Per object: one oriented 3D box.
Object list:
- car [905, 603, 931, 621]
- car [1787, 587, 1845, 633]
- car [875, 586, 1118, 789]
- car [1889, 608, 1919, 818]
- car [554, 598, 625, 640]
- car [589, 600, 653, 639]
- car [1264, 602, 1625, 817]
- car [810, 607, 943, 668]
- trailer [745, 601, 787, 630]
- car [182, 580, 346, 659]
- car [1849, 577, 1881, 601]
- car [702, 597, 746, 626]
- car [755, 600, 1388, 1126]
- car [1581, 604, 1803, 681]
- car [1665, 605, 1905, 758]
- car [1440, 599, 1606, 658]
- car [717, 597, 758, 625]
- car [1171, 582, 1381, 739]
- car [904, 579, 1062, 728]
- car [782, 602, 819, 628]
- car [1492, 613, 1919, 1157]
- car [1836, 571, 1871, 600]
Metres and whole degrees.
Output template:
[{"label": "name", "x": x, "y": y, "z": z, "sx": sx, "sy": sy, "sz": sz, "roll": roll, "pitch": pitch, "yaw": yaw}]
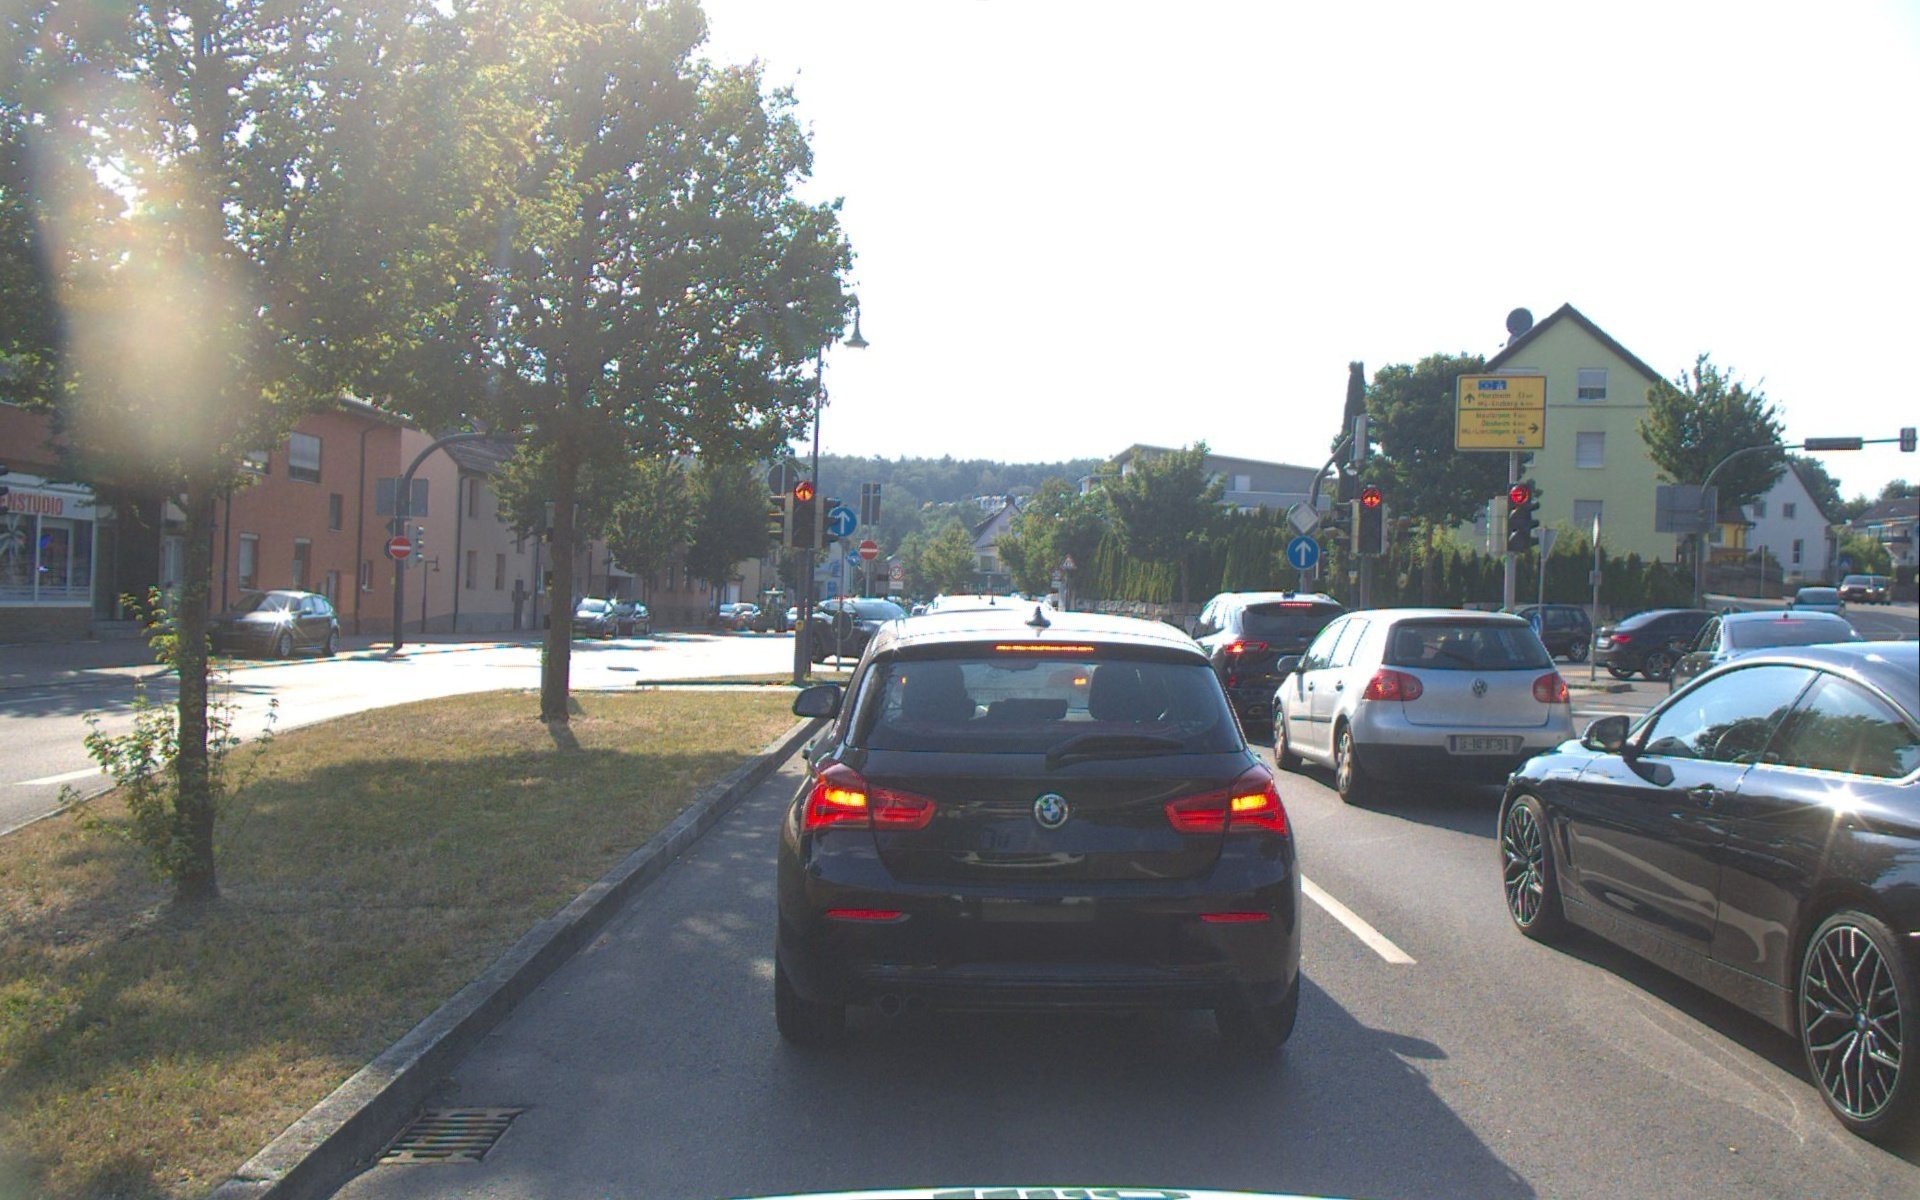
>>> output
[{"label": "car", "x": -3.675, "y": 1.050, "z": 144.727, "sx": 1.826, "sy": 1.511, "sz": 4.652, "roll": 1, "pitch": 0, "yaw": -6}, {"label": "car", "x": 28.990, "y": 0.302, "z": 56.028, "sx": 1.677, "sy": 1.265, "sz": 3.997, "roll": 1, "pitch": 4, "yaw": 27}, {"label": "car", "x": 0.299, "y": 0.640, "z": 14.335, "sx": 1.779, "sy": 1.476, "sz": 4.242, "roll": 1, "pitch": 0, "yaw": 1}, {"label": "car", "x": 7.412, "y": 0.808, "z": 10.030, "sx": 1.692, "sy": 1.476, "sz": 4.072, "roll": 1, "pitch": 0, "yaw": 8}, {"label": "car", "x": -14.930, "y": 0.735, "z": 66.877, "sx": 1.884, "sy": 1.624, "sz": 4.000, "roll": 1, "pitch": 0, "yaw": 1}, {"label": "car", "x": -14.842, "y": 0.845, "z": 72.672, "sx": 1.884, "sy": 1.624, "sz": 4.000, "roll": 1, "pitch": 0, "yaw": 1}, {"label": "car", "x": 3.801, "y": 0.773, "z": 13.793, "sx": 1.779, "sy": 1.471, "sz": 4.347, "roll": 1, "pitch": 0, "yaw": 1}, {"label": "car", "x": -2.128, "y": 0.898, "z": 41.145, "sx": 1.676, "sy": 1.377, "sz": 3.958, "roll": 1, "pitch": 0, "yaw": -31}, {"label": "trailer", "x": -11.108, "y": 0.854, "z": 94.816, "sx": 1.953, "sy": 1.579, "sz": 3.999, "roll": 1, "pitch": 0, "yaw": -1}, {"label": "car", "x": -15.568, "y": 0.412, "z": 37.232, "sx": 1.805, "sy": 1.579, "sz": 4.001, "roll": 3, "pitch": 0, "yaw": 2}, {"label": "car", "x": 63.014, "y": -0.777, "z": 115.167, "sx": 1.744, "sy": 1.607, "sz": 3.990, "roll": 1, "pitch": 0, "yaw": 32}, {"label": "car", "x": -13.820, "y": 0.680, "z": 97.074, "sx": 1.884, "sy": 1.624, "sz": 4.000, "roll": 1, "pitch": 0, "yaw": 1}, {"label": "car", "x": 0.340, "y": 0.735, "z": 6.801, "sx": 1.754, "sy": 1.439, "sz": 4.347, "roll": 1, "pitch": 0, "yaw": 1}, {"label": "car", "x": 15.251, "y": 0.868, "z": 34.641, "sx": 3.902, "sy": 1.484, "sz": 1.774, "roll": 1, "pitch": 0, "yaw": 8}, {"label": "car", "x": 9.073, "y": 0.800, "z": 18.540, "sx": 1.645, "sy": 1.460, "sz": 4.592, "roll": 1, "pitch": 0, "yaw": 17}, {"label": "car", "x": 15.287, "y": 0.771, "z": 44.929, "sx": 3.990, "sy": 1.533, "sz": 1.784, "roll": 1, "pitch": 0, "yaw": -16}, {"label": "car", "x": -13.775, "y": 0.670, "z": 102.580, "sx": 1.884, "sy": 1.624, "sz": 4.000, "roll": 1, "pitch": 0, "yaw": 1}, {"label": "car", "x": 3.744, "y": 0.656, "z": 20.300, "sx": 1.779, "sy": 1.695, "sz": 4.347, "roll": 1, "pitch": 0, "yaw": 1}, {"label": "car", "x": 0.288, "y": 0.606, "z": 20.921, "sx": 1.779, "sy": 1.670, "sz": 4.242, "roll": 1, "pitch": 0, "yaw": 1}, {"label": "car", "x": -10.277, "y": 0.942, "z": 106.865, "sx": 1.884, "sy": 1.624, "sz": 4.000, "roll": 1, "pitch": 0, "yaw": 1}, {"label": "car", "x": 3.470, "y": 0.785, "z": 5.916, "sx": 1.779, "sy": 1.413, "sz": 4.347, "roll": 1, "pitch": 0, "yaw": 1}, {"label": "car", "x": 51.468, "y": -0.824, "z": 95.279, "sx": 1.742, "sy": 1.607, "sz": 3.993, "roll": 1, "pitch": 0, "yaw": 29}]
